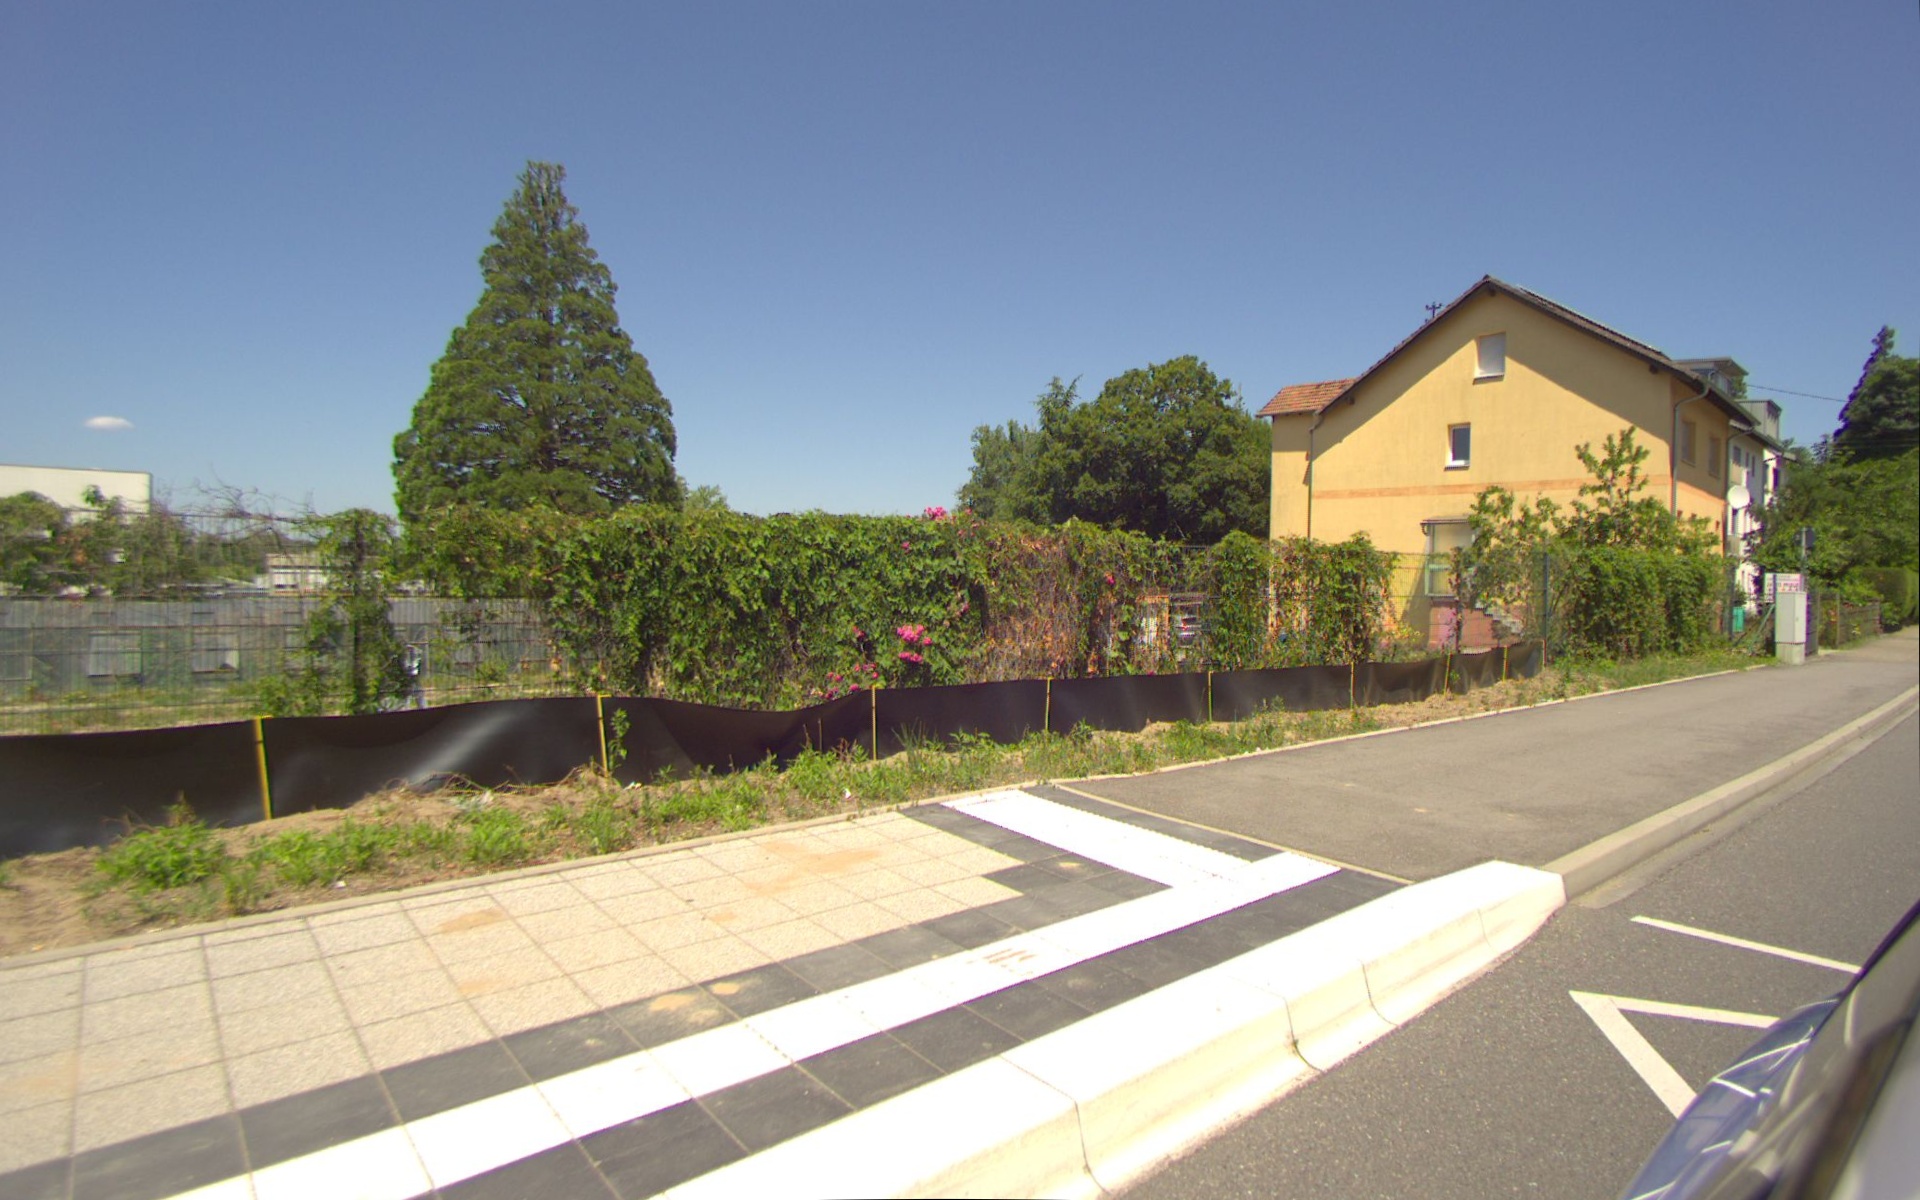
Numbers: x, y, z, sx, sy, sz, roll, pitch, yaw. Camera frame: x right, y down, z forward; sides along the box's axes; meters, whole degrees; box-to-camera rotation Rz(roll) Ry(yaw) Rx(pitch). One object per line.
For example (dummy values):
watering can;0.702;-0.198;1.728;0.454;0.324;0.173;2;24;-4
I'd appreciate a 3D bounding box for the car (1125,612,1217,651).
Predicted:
car;9.970;1.473;48.021;1.851;1.709;3.996;1;0;-38
